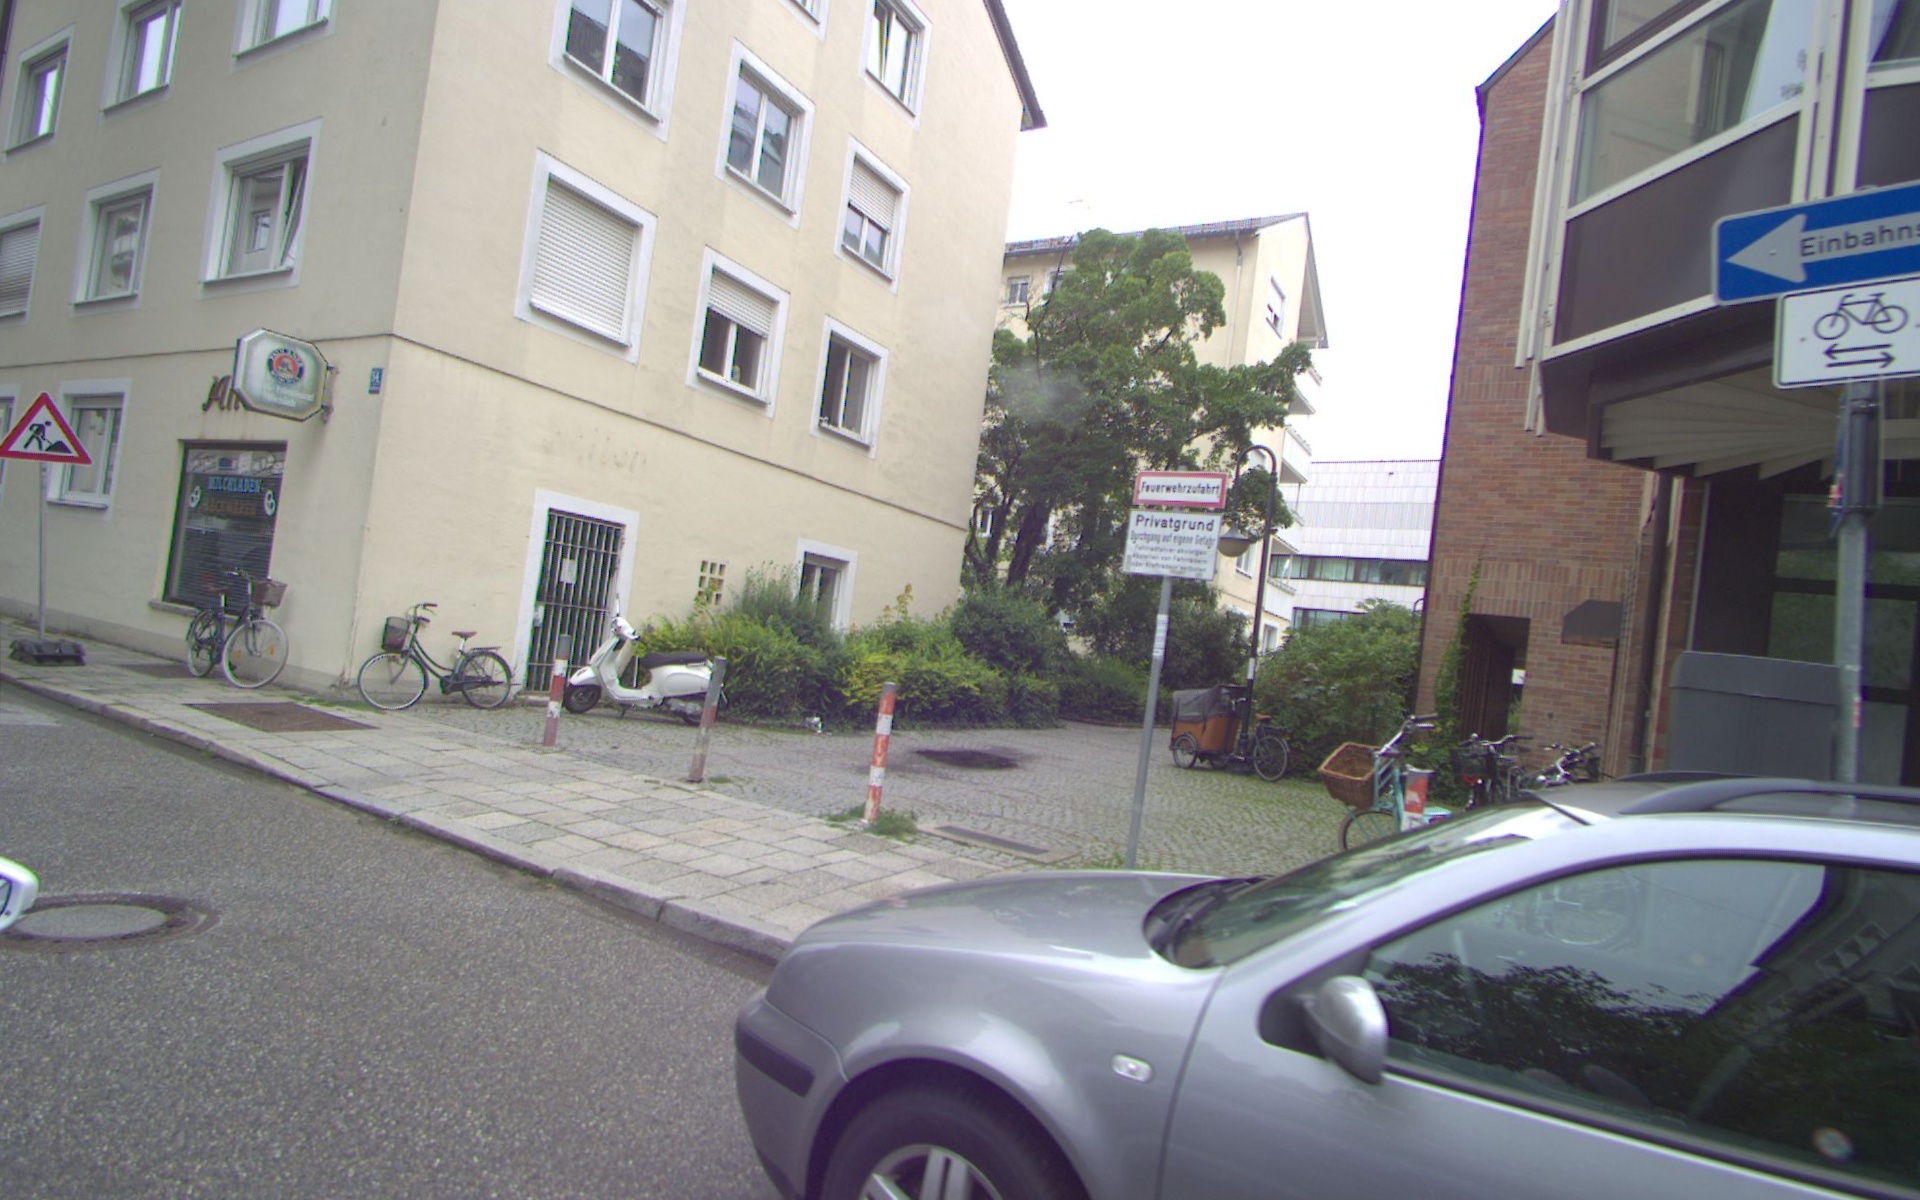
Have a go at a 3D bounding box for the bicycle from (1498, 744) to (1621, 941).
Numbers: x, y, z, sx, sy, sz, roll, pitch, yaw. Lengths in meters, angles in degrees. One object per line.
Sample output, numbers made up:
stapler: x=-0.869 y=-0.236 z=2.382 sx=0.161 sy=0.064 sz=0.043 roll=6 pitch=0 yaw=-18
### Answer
bicycle: x=4.056 y=1.543 z=6.744 sx=0.436 sy=1.085 sz=1.749 roll=6 pitch=-2 yaw=37

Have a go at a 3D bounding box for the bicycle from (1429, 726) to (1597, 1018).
bicycle: x=2.977 y=1.321 z=5.327 sx=0.436 sy=1.201 sz=1.748 roll=6 pitch=0 yaw=37

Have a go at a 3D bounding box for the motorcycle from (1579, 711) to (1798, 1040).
motorcycle: x=3.935 y=1.376 z=5.569 sx=0.542 sy=1.401 sz=1.764 roll=7 pitch=-1 yaw=26

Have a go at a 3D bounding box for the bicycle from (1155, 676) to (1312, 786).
bicycle: x=3.856 y=1.829 z=14.433 sx=0.799 sy=1.282 sz=2.253 roll=8 pitch=-4 yaw=-25

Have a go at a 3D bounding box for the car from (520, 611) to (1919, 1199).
car: x=1.325 y=1.050 z=2.034 sx=4.285 sy=1.450 sz=1.726 roll=6 pitch=-3 yaw=30

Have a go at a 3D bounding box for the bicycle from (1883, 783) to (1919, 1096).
bicycle: x=4.813 y=1.495 z=4.368 sx=1.857 sy=1.243 sz=0.589 roll=8 pitch=-2 yaw=-30

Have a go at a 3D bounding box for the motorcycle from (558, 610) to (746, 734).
motorcycle: x=-3.480 y=0.810 z=11.489 sx=1.841 sy=1.135 sz=0.621 roll=8 pitch=0 yaw=-7

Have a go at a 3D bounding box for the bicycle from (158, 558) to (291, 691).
bicycle: x=-7.712 y=0.238 z=10.519 sx=1.789 sy=1.229 sz=0.410 roll=5 pitch=0 yaw=32

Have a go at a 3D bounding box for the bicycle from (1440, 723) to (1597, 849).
bicycle: x=5.674 y=1.888 z=10.221 sx=1.405 sy=1.085 sz=0.441 roll=8 pitch=-1 yaw=-16

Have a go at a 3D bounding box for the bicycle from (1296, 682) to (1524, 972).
bicycle: x=2.551 y=1.207 z=5.938 sx=0.576 sy=1.338 sz=1.808 roll=6 pitch=-2 yaw=6

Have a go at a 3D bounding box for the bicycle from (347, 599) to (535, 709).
bicycle: x=-5.359 y=0.594 z=10.505 sx=0.404 sy=1.038 sz=1.704 roll=5 pitch=-2 yaw=31

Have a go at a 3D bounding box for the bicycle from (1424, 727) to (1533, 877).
bicycle: x=4.473 y=1.670 z=8.612 sx=0.436 sy=1.085 sz=1.881 roll=6 pitch=-2 yaw=37
